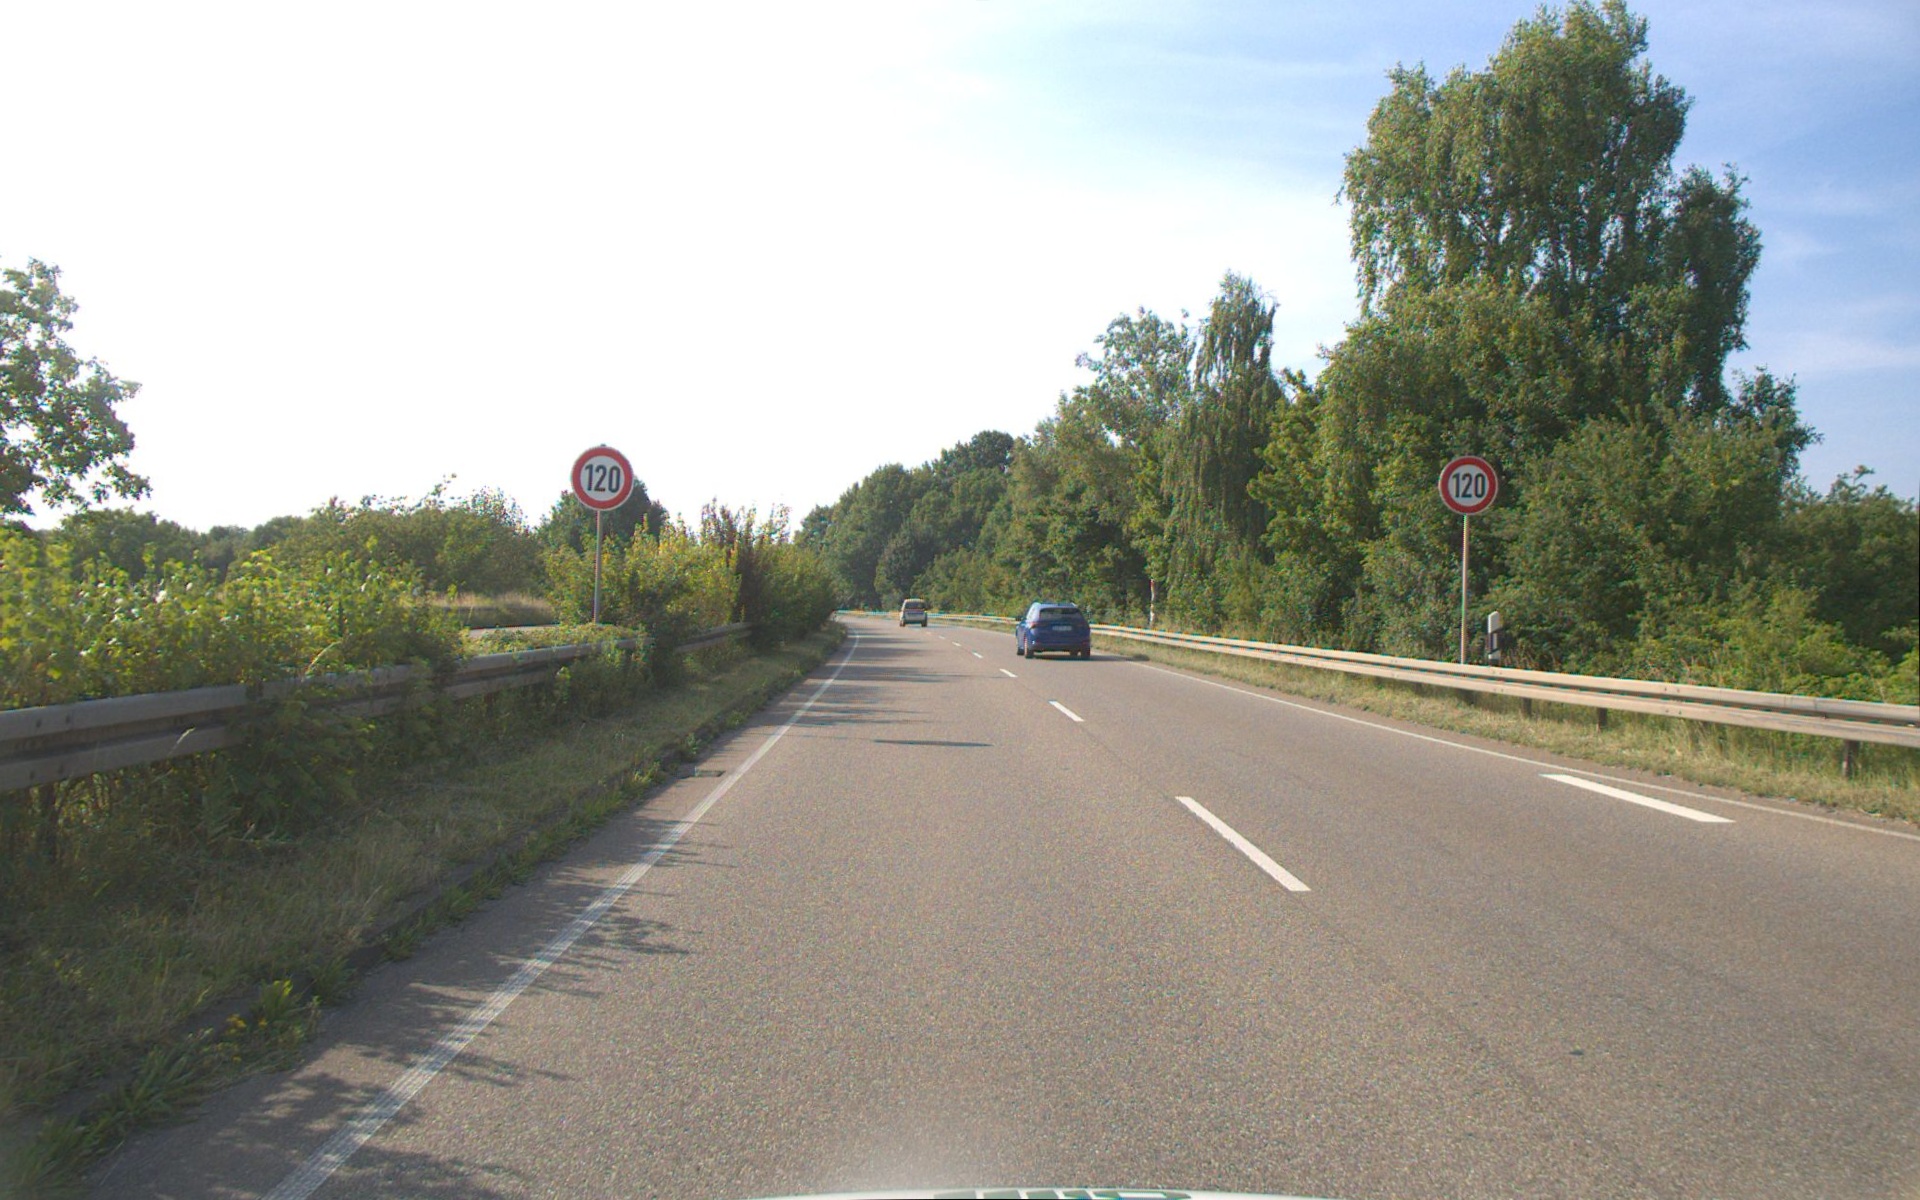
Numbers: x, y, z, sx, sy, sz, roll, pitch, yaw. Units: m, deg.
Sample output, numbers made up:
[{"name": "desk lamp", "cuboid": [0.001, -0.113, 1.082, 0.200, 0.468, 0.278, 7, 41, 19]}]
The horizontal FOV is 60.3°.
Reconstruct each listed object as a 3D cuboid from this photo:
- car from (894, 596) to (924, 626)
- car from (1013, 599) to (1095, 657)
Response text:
[{"name": "car", "cuboid": [-3.420, 0.740, 110.830, 1.731, 1.914, 3.996, 1, 0, -5]}, {"name": "car", "cuboid": [2.504, 0.737, 44.732, 1.744, 1.477, 3.997, 1, 0, -4]}]
